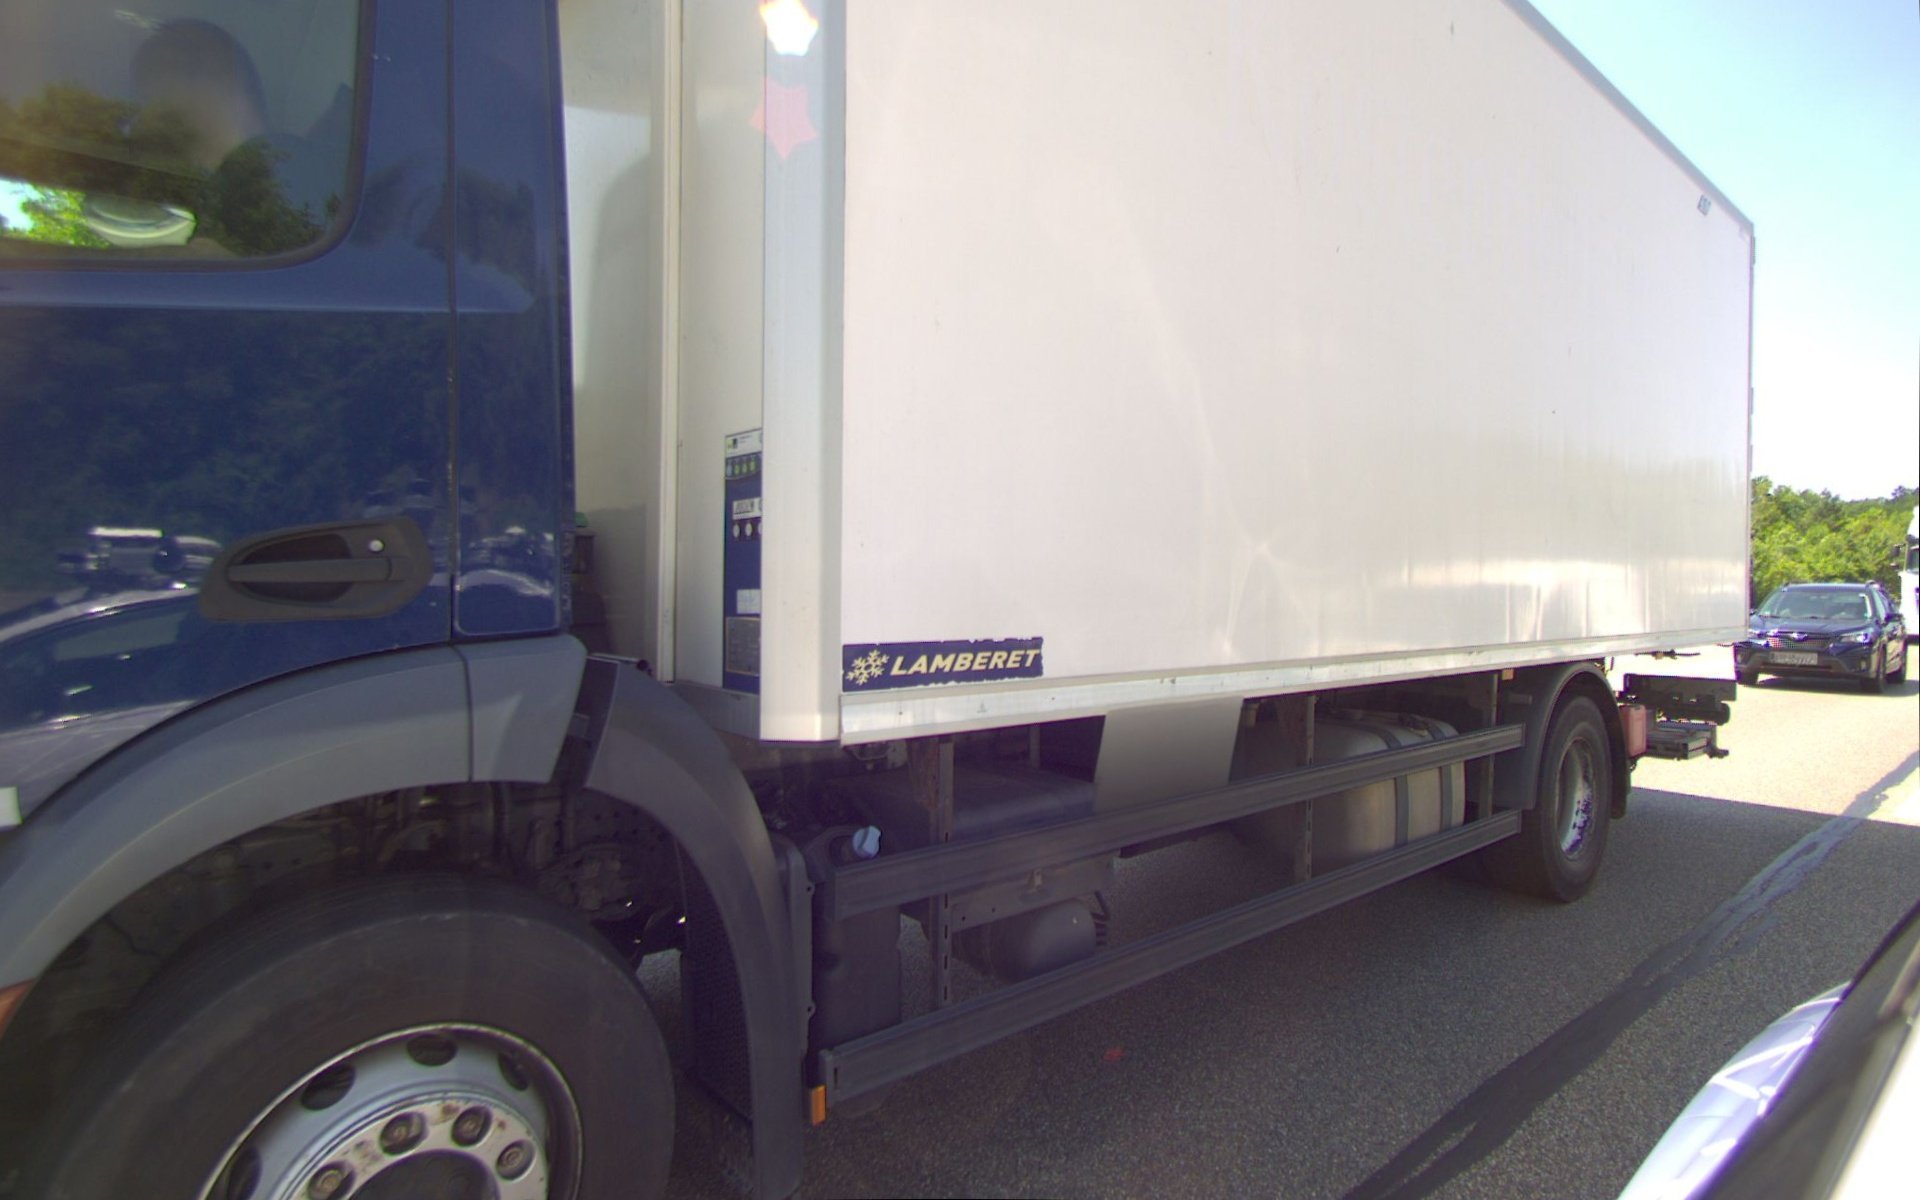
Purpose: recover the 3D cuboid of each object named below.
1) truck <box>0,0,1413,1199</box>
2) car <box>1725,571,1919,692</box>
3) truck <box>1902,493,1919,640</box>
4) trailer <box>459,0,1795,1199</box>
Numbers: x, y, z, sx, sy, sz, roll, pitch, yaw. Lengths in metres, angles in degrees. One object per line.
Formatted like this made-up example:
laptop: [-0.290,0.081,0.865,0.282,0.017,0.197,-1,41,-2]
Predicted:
truck: [-0.987,-0.105,2.803,4.031,2.977,2.562,-1,2,-39]
car: [14.426,0.390,16.794,4.534,1.713,1.996,-2,3,-43]
truck: [30.451,-1.014,30.065,7.205,4.135,2.765,-1,1,-40]
trailer: [1.904,-0.164,5.286,7.744,2.936,2.560,0,0,-41]
